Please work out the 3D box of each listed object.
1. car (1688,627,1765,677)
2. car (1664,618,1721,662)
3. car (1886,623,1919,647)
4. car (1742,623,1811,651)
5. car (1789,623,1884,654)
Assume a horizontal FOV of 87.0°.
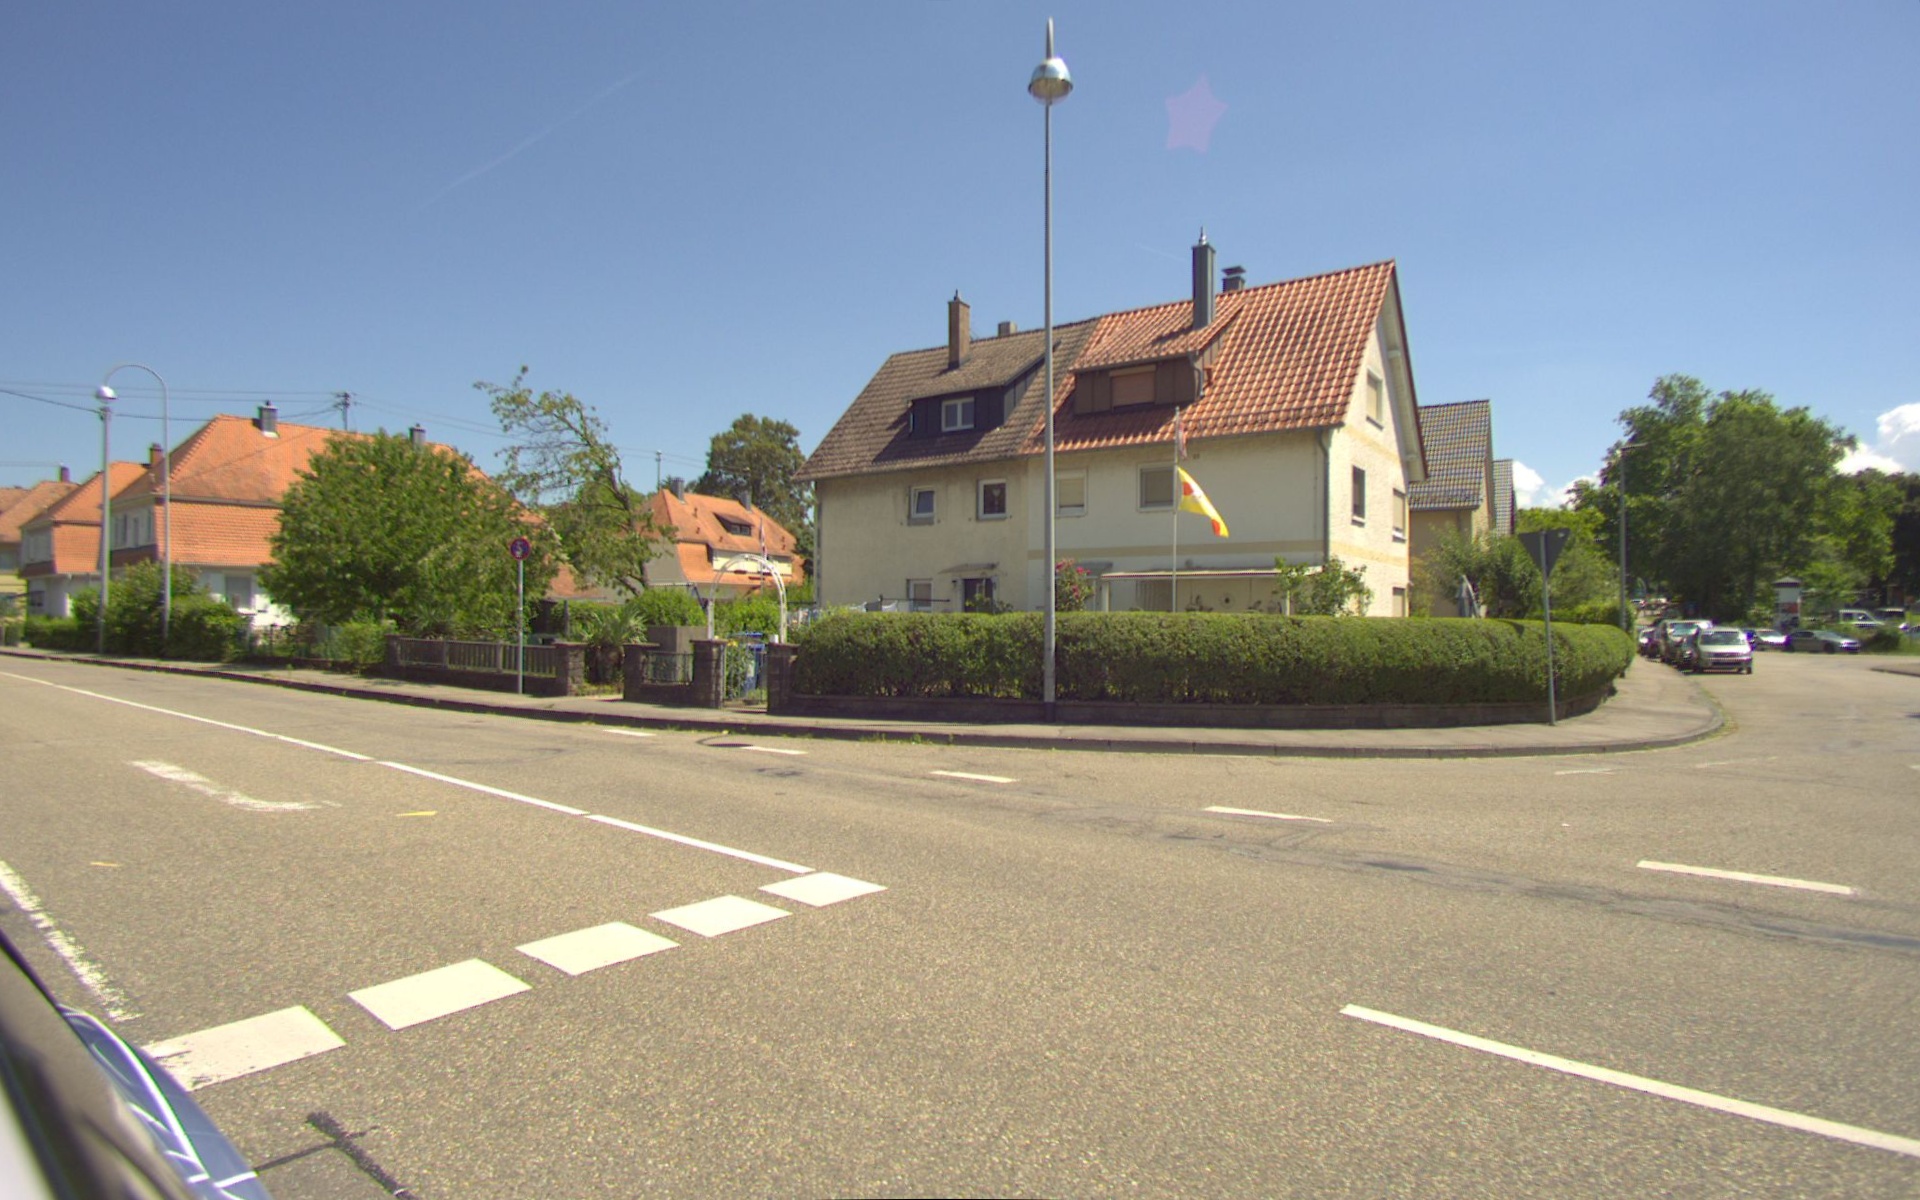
[{"bbox_3d":[27.954,1.863,37.018,1.827,1.598,3.957,-2,-1,32],"label":"car"},{"bbox_3d":[33.620,1.798,46.519,1.996,1.844,3.952,-2,-1,36],"label":"car"},{"bbox_3d":[60.873,2.168,63.272,1.768,1.451,3.946,-1,-1,-26],"label":"car"},{"bbox_3d":[52.008,2.348,64.575,1.992,1.658,3.978,-2,-1,17],"label":"car"},{"bbox_3d":[51.699,2.253,59.825,1.971,1.663,4.002,-1,-1,-3],"label":"car"}]
